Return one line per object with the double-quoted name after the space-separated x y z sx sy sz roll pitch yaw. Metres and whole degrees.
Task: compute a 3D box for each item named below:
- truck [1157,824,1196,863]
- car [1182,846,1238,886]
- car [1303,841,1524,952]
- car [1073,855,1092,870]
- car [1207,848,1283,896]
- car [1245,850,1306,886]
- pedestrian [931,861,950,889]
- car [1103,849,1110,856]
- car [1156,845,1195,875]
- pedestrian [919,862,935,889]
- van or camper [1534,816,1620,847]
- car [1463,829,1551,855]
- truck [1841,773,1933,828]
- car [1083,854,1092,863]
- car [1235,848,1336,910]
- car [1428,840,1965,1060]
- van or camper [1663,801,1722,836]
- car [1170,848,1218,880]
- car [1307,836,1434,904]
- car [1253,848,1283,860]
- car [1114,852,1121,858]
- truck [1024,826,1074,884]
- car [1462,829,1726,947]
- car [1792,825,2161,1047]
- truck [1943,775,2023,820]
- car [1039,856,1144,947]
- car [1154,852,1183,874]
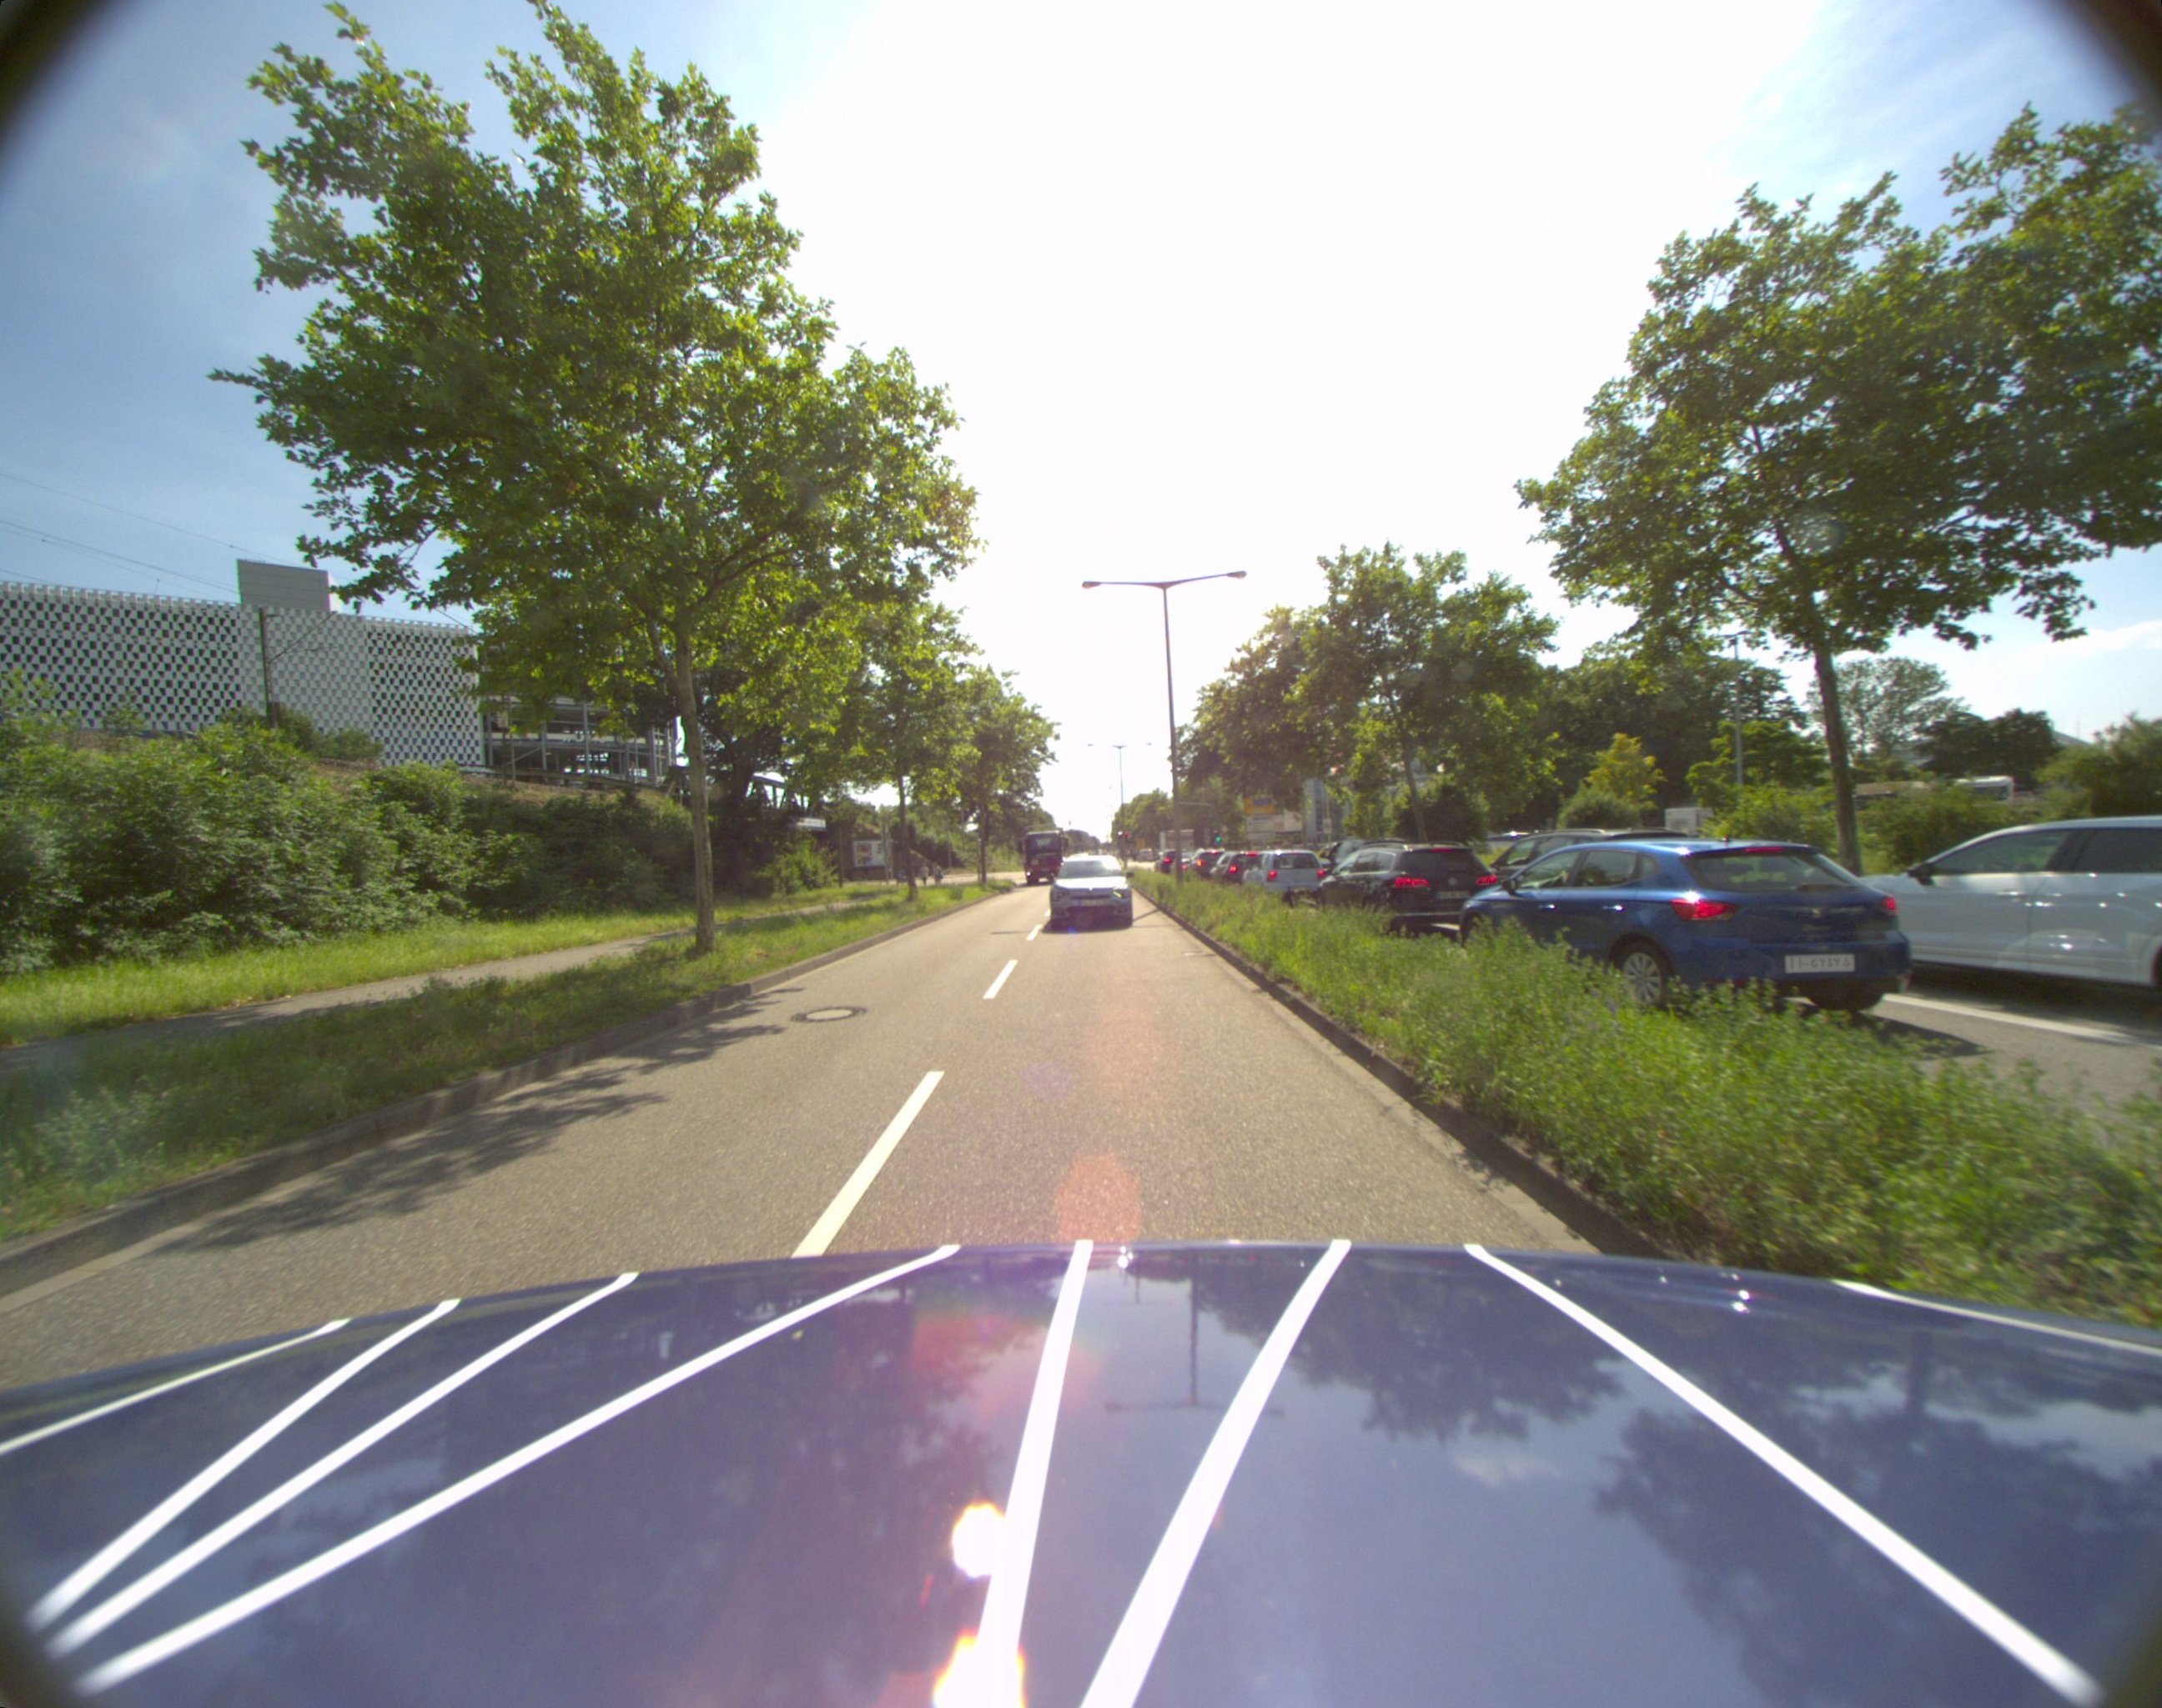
8.962 -0.936 71.811 2.811 3.451 6.691 -1 0 1 "truck"
5.515 0.477 32.886 1.693 1.577 4.240 -2 0 1 "car"
5.452 0.603 13.251 1.762 1.521 4.827 -2 0 1 "car"
0.160 0.927 84.012 1.826 1.521 4.548 -3 0 2 "car"
5.453 0.546 25.761 1.693 1.465 4.218 -1 0 1 "car"
8.846 0.588 34.850 1.693 1.521 4.083 -1 0 0 "car"
-8.488 1.253 45.915 0.870 1.602 0.777 -3 1 0 "pedestrian"
8.084 -0.507 243.324 1.998 2.002 4.000 -3 0 1 "car"
5.674 0.307 46.187 1.824 1.637 4.693 -2 1 1 "car"
-9.402 1.324 46.304 0.731 1.570 0.777 -3 1 0 "pedestrian"
41.160 -1.858 63.238 2.199 2.197 5.506 -4 1 -33 "van or camper"
28.110 -0.776 50.236 4.576 1.406 2.199 -3 1 -6 "car"
55.385 -3.626 52.132 8.939 3.292 3.153 -3 0 -36 "truck"
1.691 1.099 191.585 1.998 2.002 4.000 -3 0 1 "car"
5.365 0.608 20.443 1.693 1.463 3.814 -2 0 1 "car"
5.281 0.673 7.429 1.789 1.480 4.211 -2 0 0 "car"
60.757 -3.580 75.488 6.334 3.082 2.706 -4 1 -34 "van or camper"
5.666 0.492 38.460 1.801 1.459 4.523 -2 0 1 "car"
8.303 0.381 22.302 1.826 1.727 4.767 -2 1 -1 "car"
25.472 -0.035 103.469 4.006 1.441 1.843 -3 0 -36 "car"
10.519 0.353 219.436 1.653 1.505 3.736 -3 0 1 "car"
-1.990 0.065 48.578 2.776 3.248 7.481 -3 0 -2 "truck"
8.428 0.487 13.021 1.693 1.637 4.178 -2 0 1 "car"
8.318 0.546 6.010 1.693 1.521 3.939 -2 0 1 "car"
65.091 -4.050 54.736 9.630 2.875 2.919 -3 0 -36 "truck"
0.277 0.879 16.197 1.826 1.521 4.752 -3 0 2 "car"
6.031 0.606 52.949 1.597 1.468 3.729 -2 0 1 "car"
